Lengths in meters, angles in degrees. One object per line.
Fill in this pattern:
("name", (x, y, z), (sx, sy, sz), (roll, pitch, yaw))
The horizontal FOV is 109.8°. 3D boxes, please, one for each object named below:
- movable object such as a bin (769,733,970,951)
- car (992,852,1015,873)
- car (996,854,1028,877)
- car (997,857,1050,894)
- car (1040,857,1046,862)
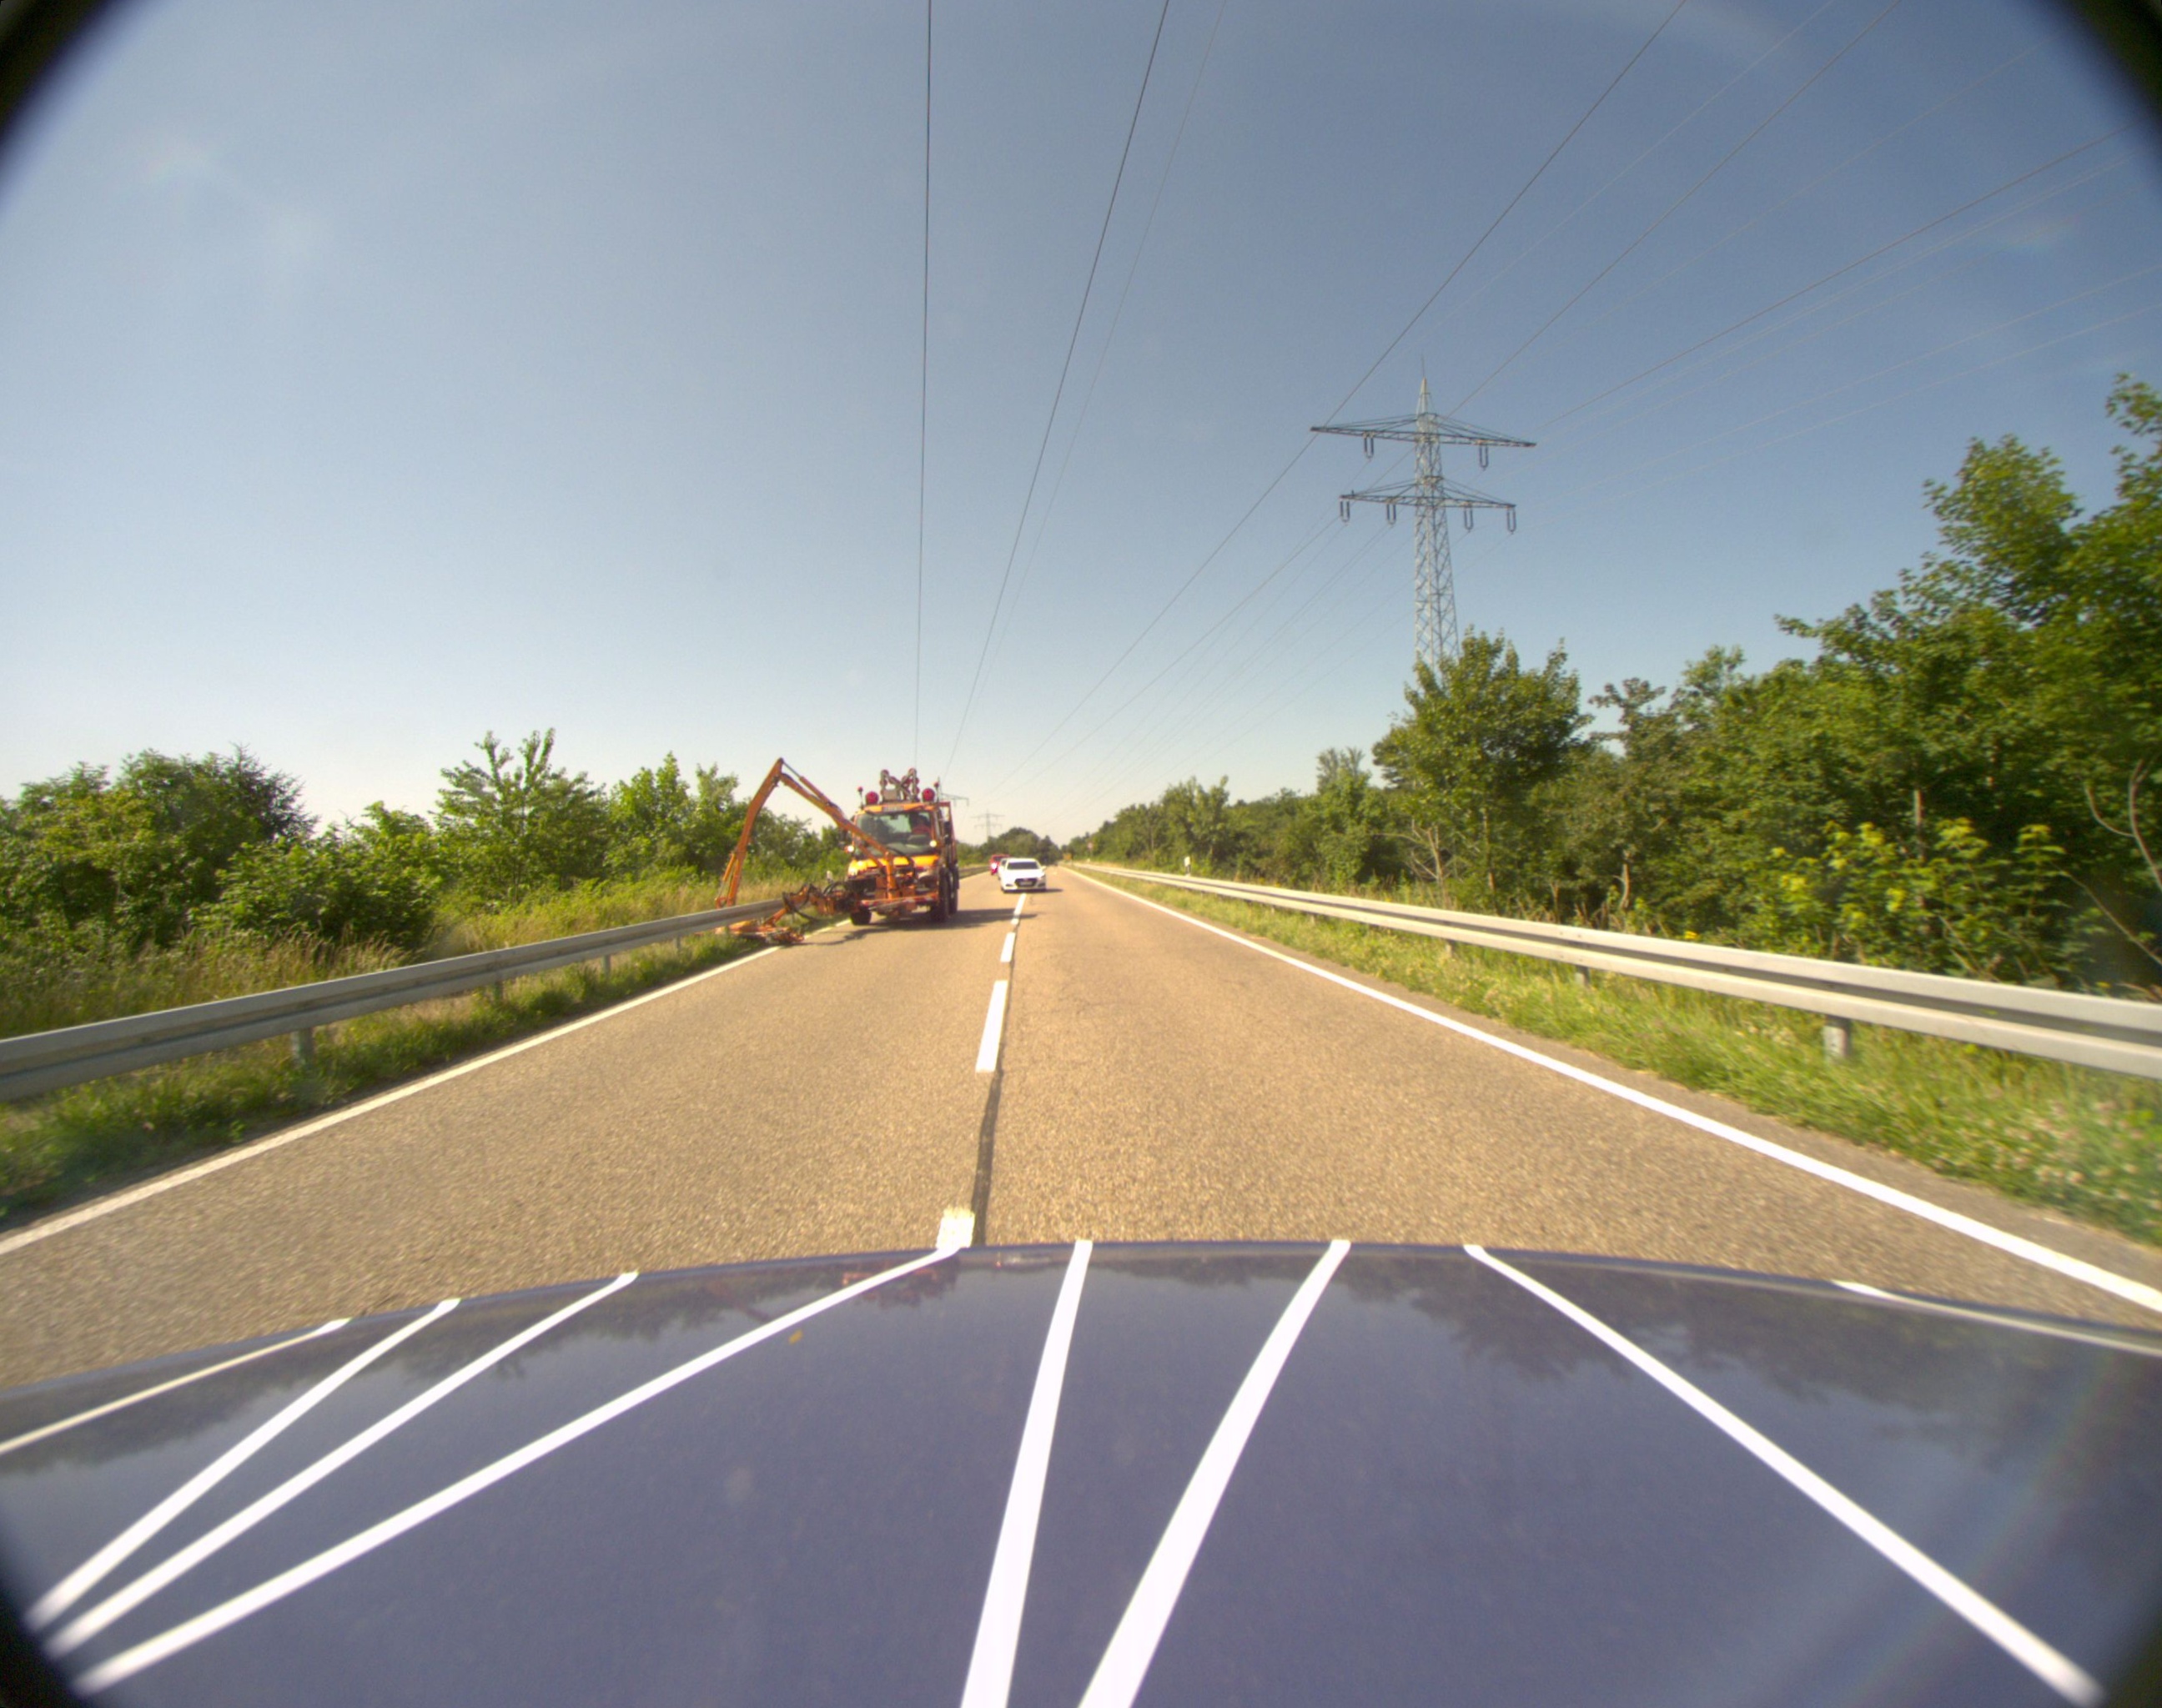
("movable object such as a bin", (-4.456, -0.207, 18.297), (2.761, 3.817, 9.441), (-2, 0, -5))
("car", (-7.654, 0.838, 75.390), (2.127, 1.934, 5.016), (-2, 0, -6))
("car", (-5.100, 0.796, 55.496), (1.924, 1.540, 4.789), (-2, 0, -9))
("car", (-2.662, 0.911, 34.011), (1.924, 1.496, 4.789), (-2, 0, -9))
("car", (-12.053, 1.821, 239.324), (1.834, 1.574, 3.998), (0, 0, -4))
